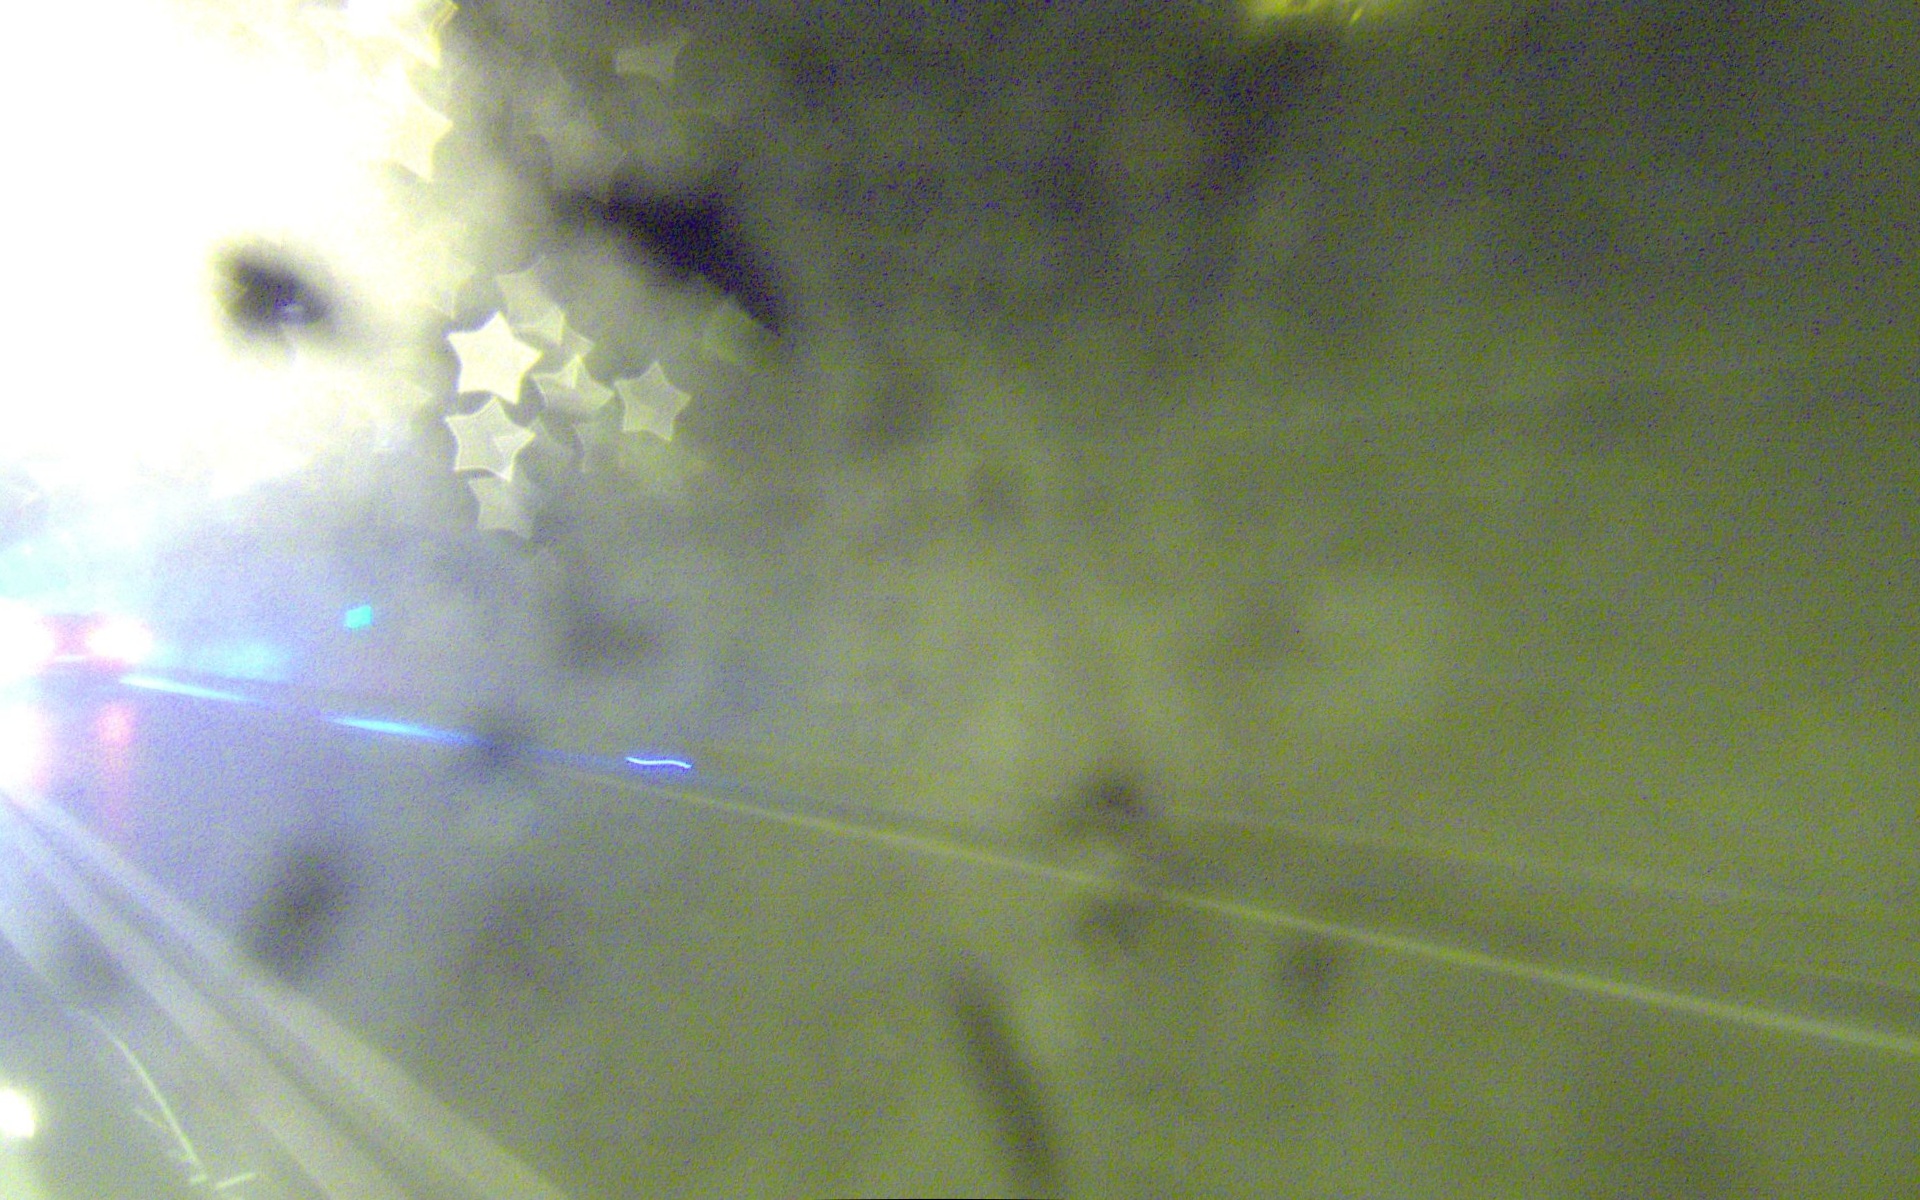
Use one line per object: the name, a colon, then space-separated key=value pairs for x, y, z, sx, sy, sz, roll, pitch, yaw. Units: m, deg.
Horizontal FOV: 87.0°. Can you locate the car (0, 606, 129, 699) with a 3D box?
car: x=-17.693 y=0.942 z=19.710 sx=4.001 sy=1.617 sz=1.863 roll=-1 pitch=0 yaw=43
